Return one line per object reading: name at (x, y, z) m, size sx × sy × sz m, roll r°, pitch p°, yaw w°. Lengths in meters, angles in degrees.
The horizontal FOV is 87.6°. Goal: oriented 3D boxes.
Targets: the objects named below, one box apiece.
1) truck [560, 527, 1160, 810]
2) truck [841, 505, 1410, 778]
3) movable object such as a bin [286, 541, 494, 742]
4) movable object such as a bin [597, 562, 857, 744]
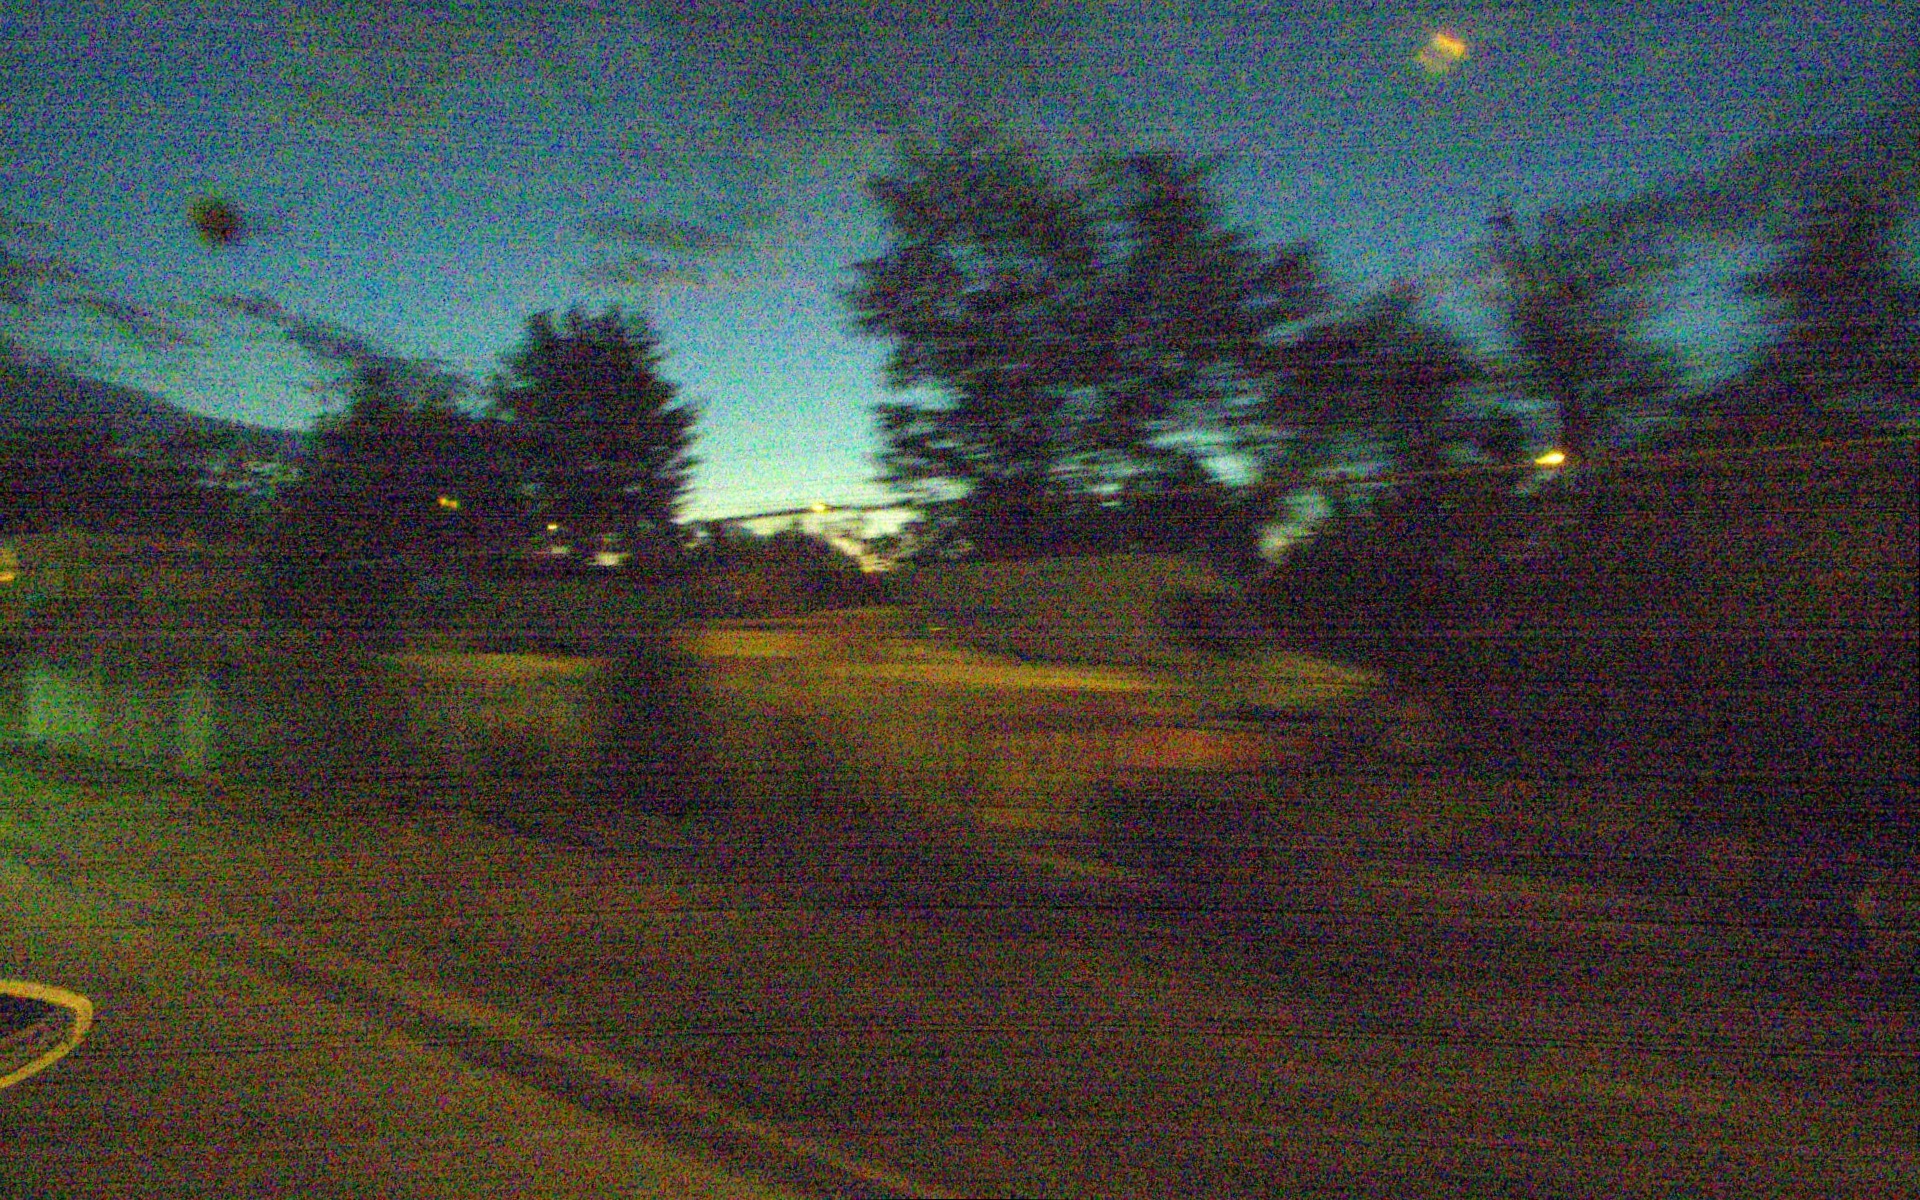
truck at (-1.491, 0.690, 11.633) m, size 7.215 × 2.453 × 2.179 m, roll -1°, pitch -3°, yaw 34°
truck at (1.845, 0.542, 13.224) m, size 7.220 × 2.782 × 2.178 m, roll -1°, pitch -3°, yaw 36°
movable object such as a bin at (-7.392, 0.538, 13.091) m, size 1.588 × 2.413 × 1.682 m, roll 0°, pitch -2°, yaw 21°
movable object such as a bin at (-3.989, 0.879, 17.146) m, size 3.808 × 2.758 × 2.225 m, roll 0°, pitch -3°, yaw 31°
